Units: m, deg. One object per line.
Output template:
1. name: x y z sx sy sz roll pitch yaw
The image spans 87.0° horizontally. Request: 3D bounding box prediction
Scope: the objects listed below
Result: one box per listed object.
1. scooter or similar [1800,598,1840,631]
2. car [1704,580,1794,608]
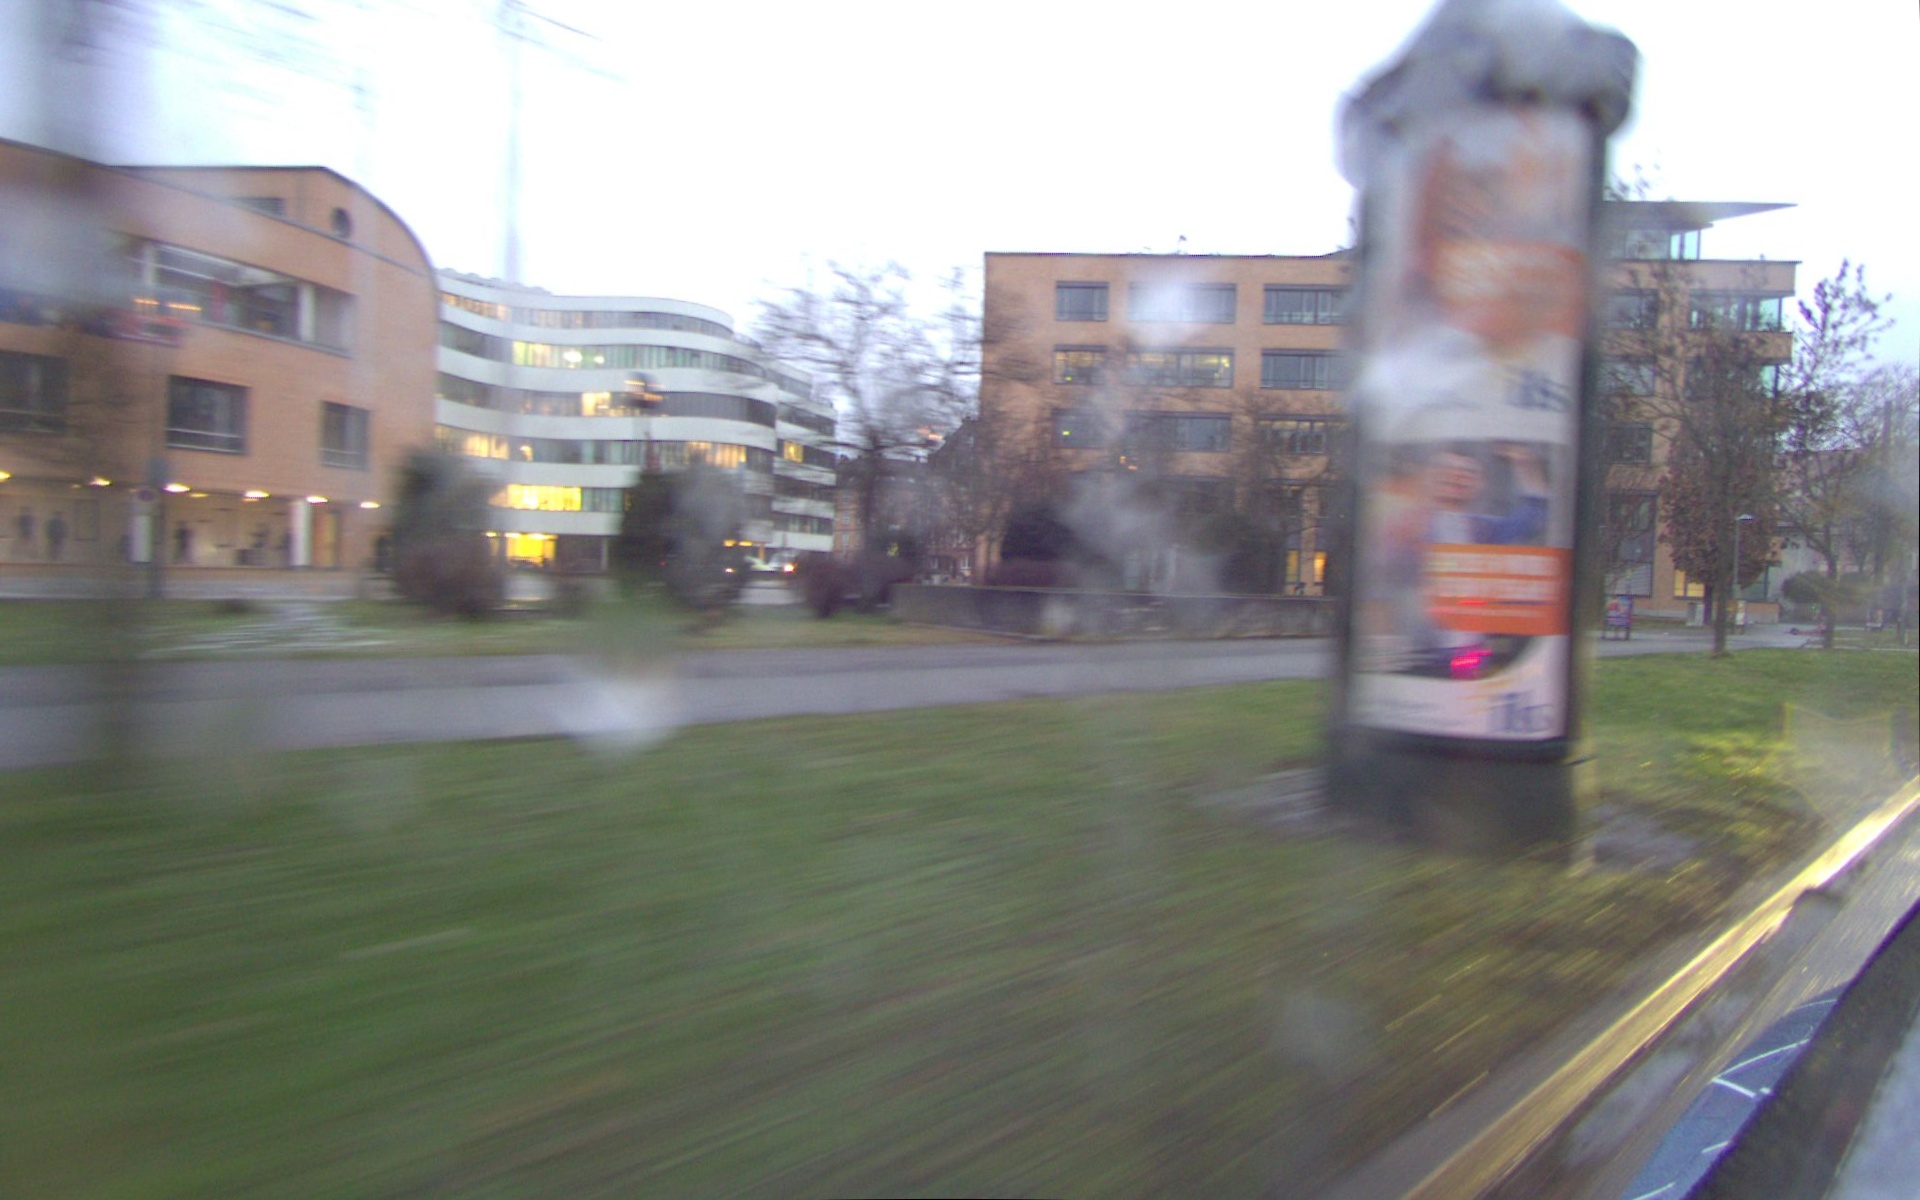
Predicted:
1. scooter or similar: 34.569 0.562 40.694 1.138 1.247 0.482 3 1 34
2. car: 53.301 -0.430 68.429 1.966 1.690 4.504 1 2 -43
